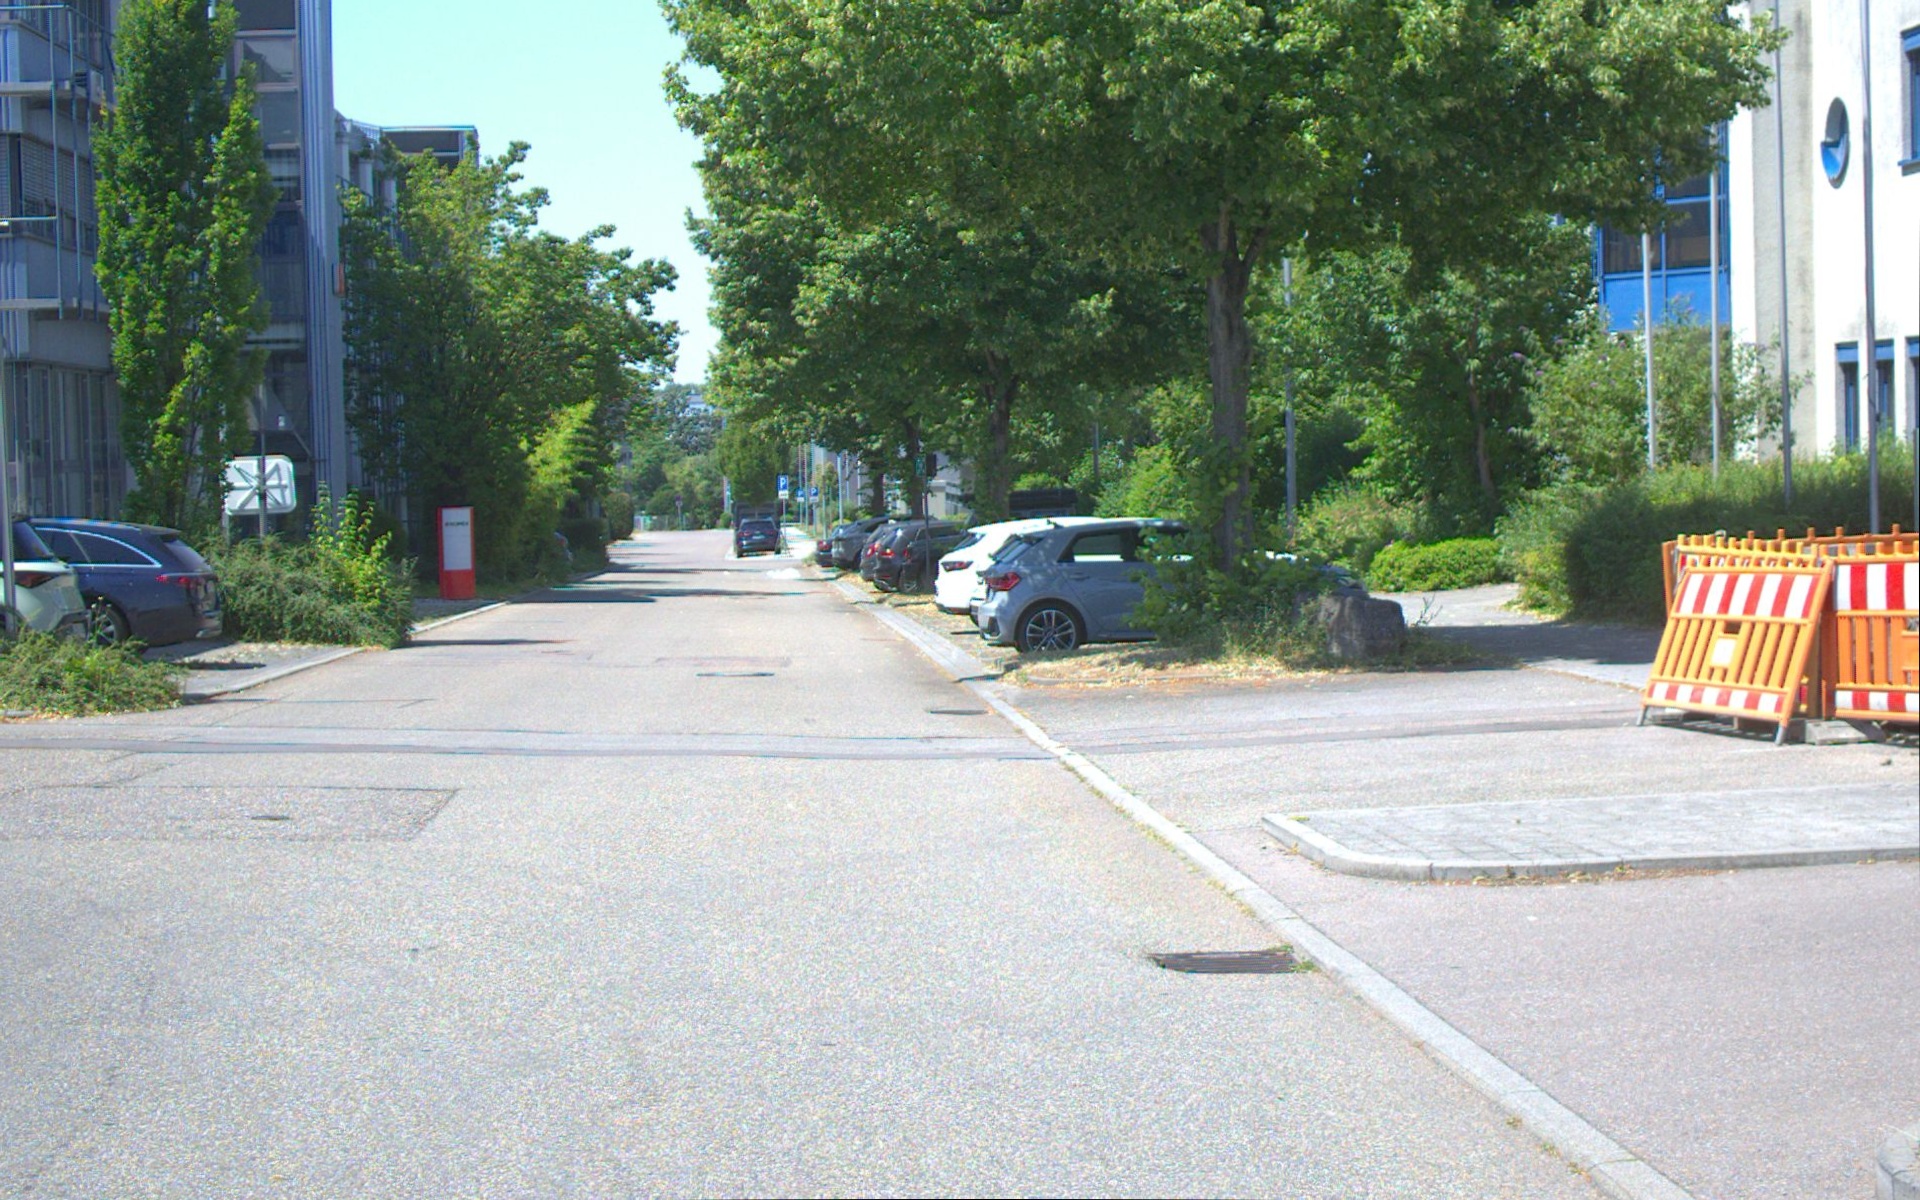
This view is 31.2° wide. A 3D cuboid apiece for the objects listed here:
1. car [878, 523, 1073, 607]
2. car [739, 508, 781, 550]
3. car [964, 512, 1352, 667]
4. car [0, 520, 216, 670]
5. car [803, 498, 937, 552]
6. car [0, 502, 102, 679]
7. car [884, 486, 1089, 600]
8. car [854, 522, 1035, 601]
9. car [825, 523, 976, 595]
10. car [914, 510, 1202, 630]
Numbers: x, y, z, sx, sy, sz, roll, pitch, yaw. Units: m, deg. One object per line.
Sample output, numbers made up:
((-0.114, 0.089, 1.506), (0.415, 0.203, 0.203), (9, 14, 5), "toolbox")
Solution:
((0.276, -0.701, 67.550), (3.721, 1.621, 1.814), (0, 1, -3), "car")
((-8.467, -2.999, 145.857), (1.761, 1.749, 3.945), (0, 1, -3), "car")
((2.004, -0.127, 35.412), (3.678, 1.350, 1.646), (-3, 1, -7), "car")
((-9.050, -0.058, 34.471), (3.057, 1.473, 1.293), (0, 1, -10), "car")
((-2.798, -2.344, 106.990), (3.930, 1.572, 1.768), (-1, 4, -11), "car")
((-9.593, -0.087, 29.636), (4.045, 1.490, 1.729), (0, 1, -6), "car")
((0.468, -1.068, 64.228), (3.721, 2.103, 1.814), (0, 1, -3), "car")
((-0.344, -0.820, 72.587), (3.721, 1.621, 1.814), (0, 1, -3), "car")
((-1.650, -1.141, 94.849), (3.930, 1.828, 1.768), (-1, 4, -11), "car")
((1.268, -0.399, 45.132), (3.516, 1.350, 1.538), (-3, 1, -7), "car")
